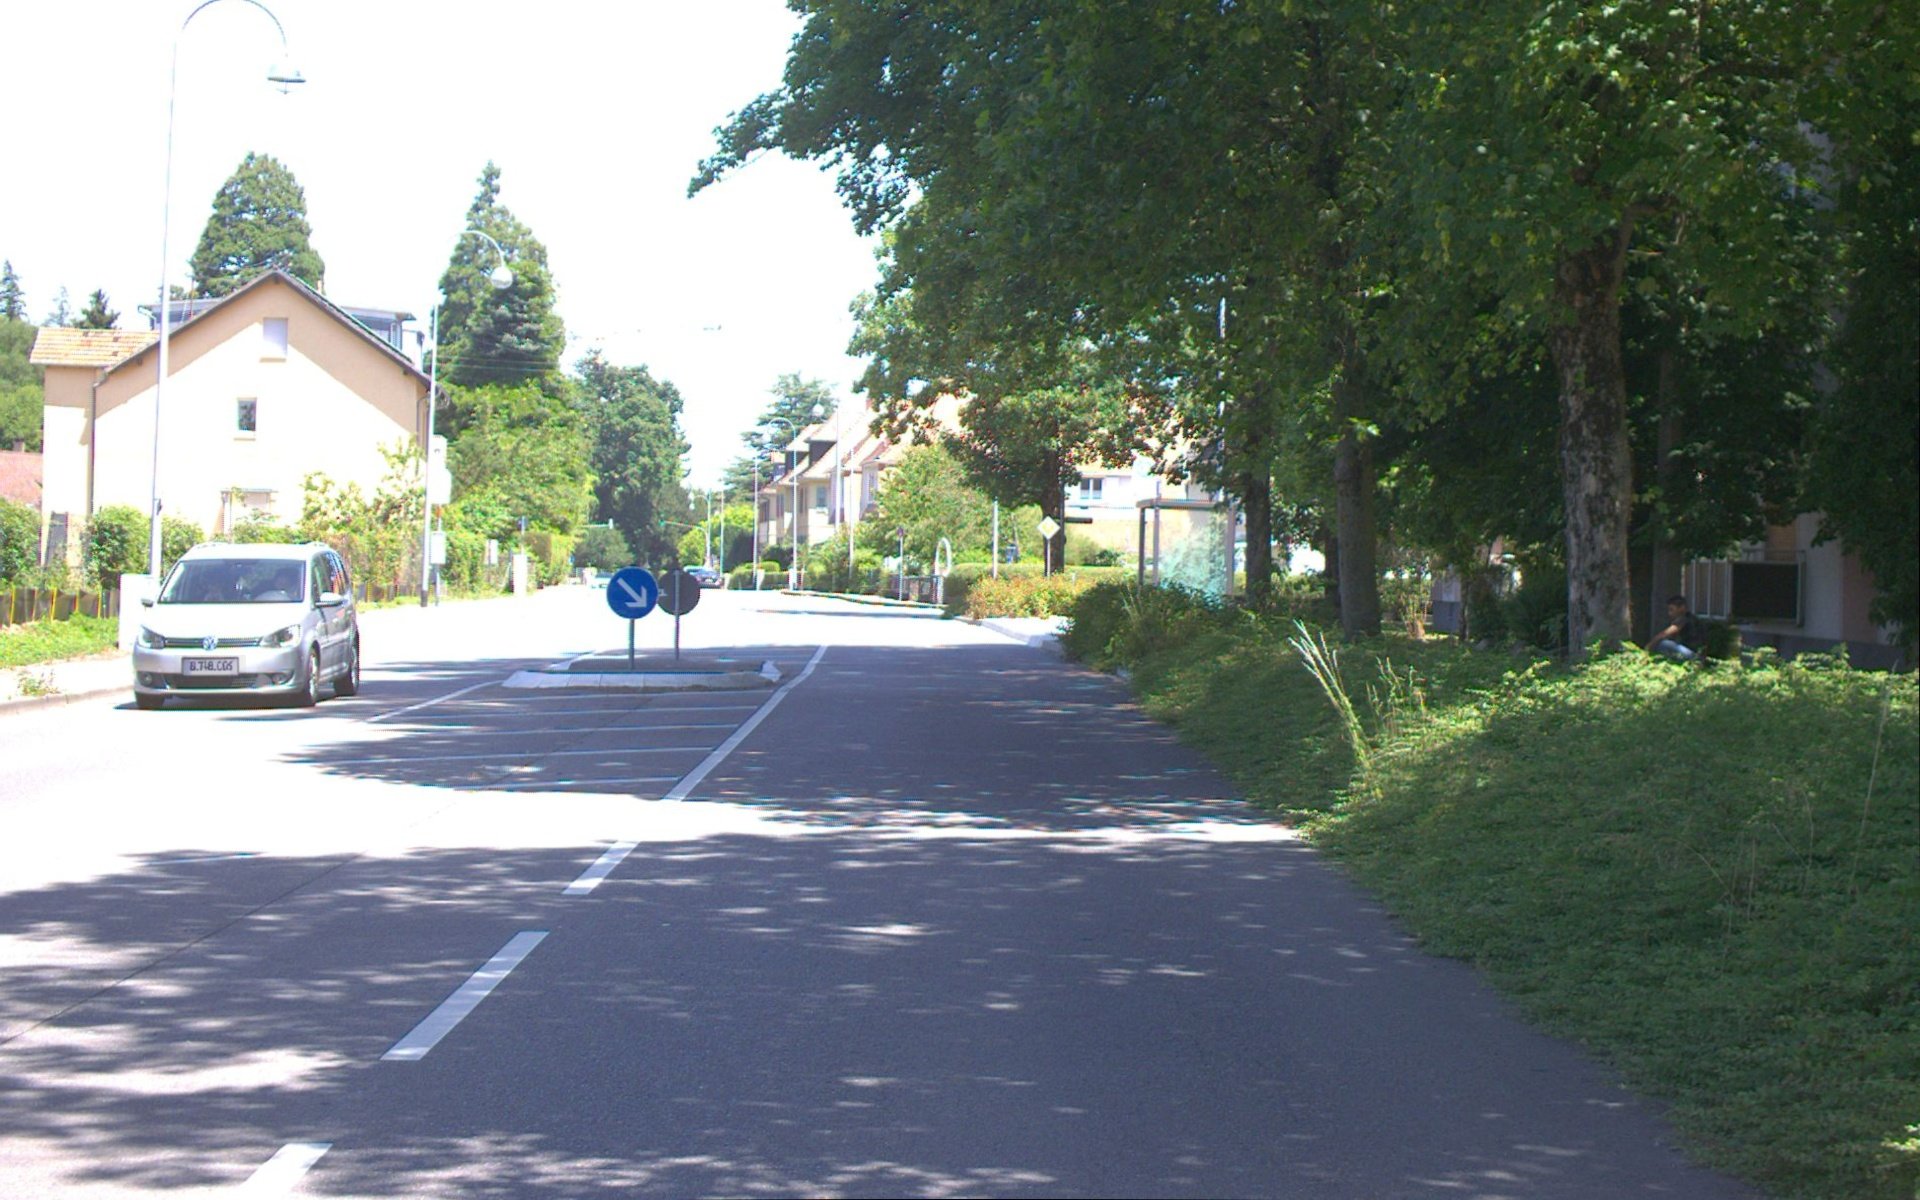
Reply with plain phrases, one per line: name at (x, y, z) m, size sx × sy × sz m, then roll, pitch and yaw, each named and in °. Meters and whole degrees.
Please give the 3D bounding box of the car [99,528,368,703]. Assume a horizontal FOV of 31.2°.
car at (-7.327, 0.123, 35.044) m, size 1.912 × 1.683 × 4.125 m, roll 0°, pitch 1°, yaw -1°

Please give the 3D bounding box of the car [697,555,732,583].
car at (-15.111, -1.908, 211.912) m, size 1.815 × 1.712 × 4.000 m, roll 1°, pitch 1°, yaw 1°

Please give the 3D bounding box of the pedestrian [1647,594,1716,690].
pedestrian at (8.898, 0.510, 42.423) m, size 0.704 × 1.156 × 0.754 m, roll 1°, pitch 1°, yaw 4°

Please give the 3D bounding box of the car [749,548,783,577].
car at (-11.958, -2.329, 211.960) m, size 1.815 × 1.712 × 4.000 m, roll 1°, pitch 1°, yaw 1°
